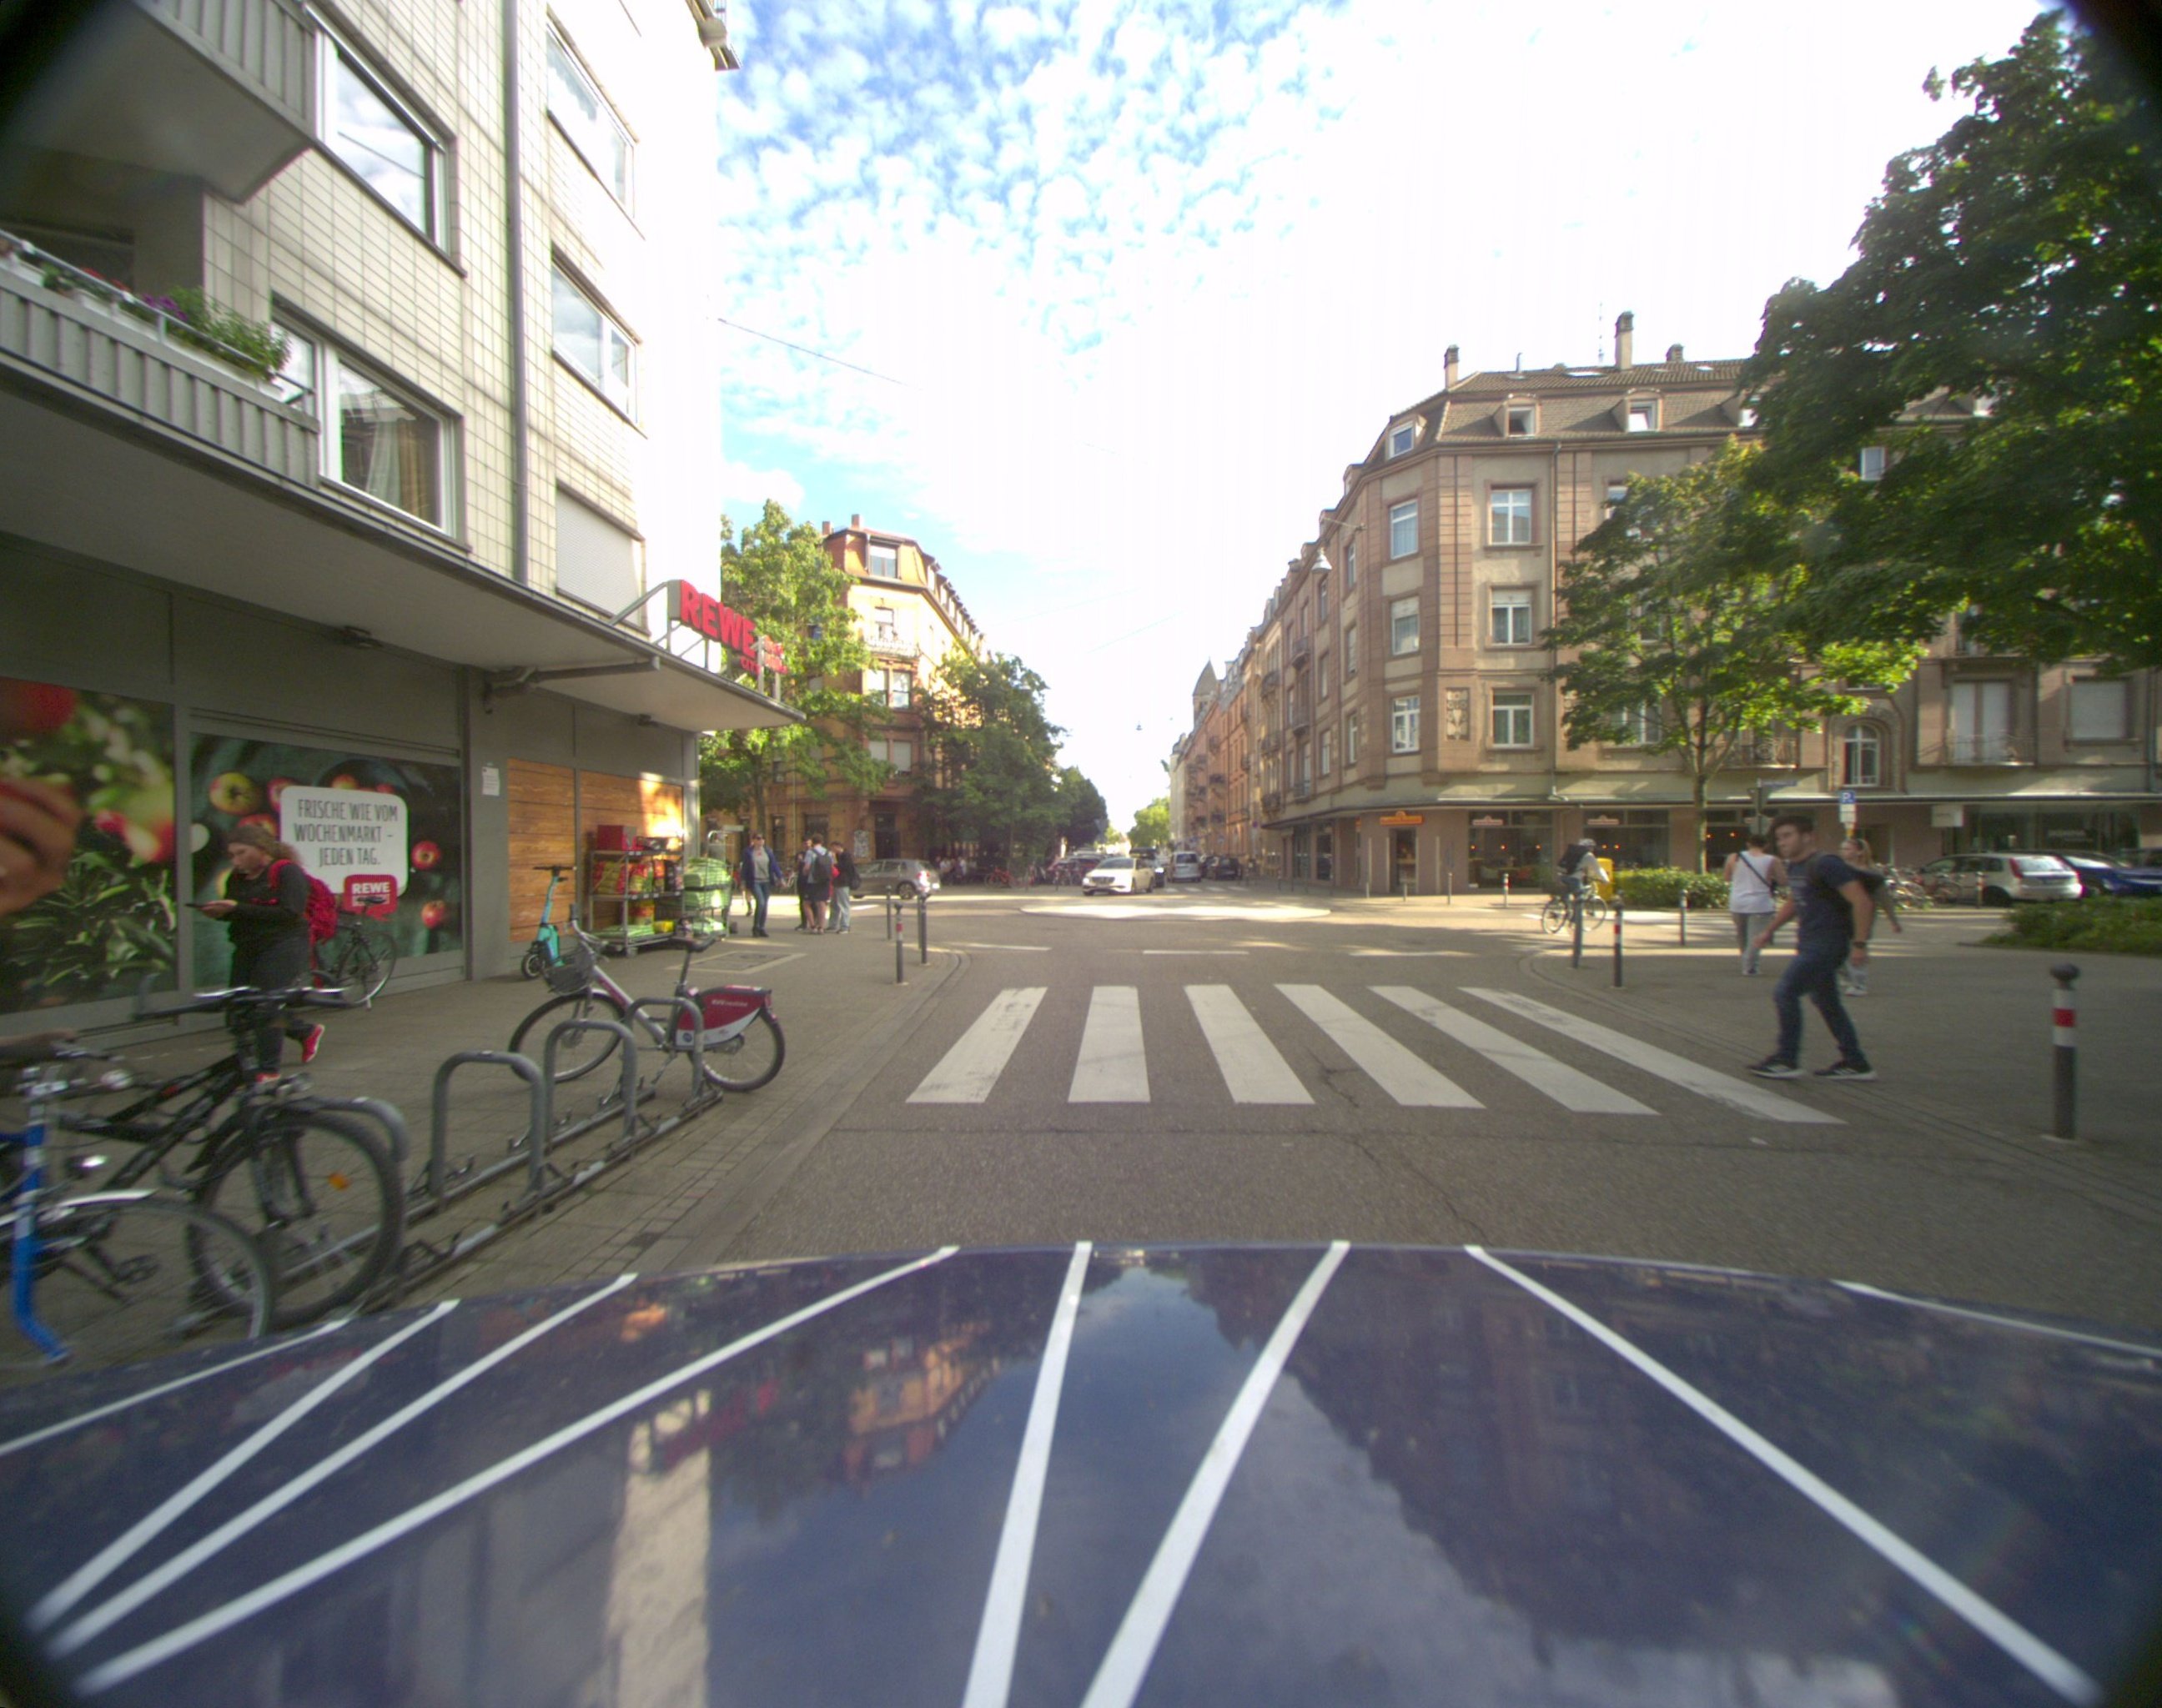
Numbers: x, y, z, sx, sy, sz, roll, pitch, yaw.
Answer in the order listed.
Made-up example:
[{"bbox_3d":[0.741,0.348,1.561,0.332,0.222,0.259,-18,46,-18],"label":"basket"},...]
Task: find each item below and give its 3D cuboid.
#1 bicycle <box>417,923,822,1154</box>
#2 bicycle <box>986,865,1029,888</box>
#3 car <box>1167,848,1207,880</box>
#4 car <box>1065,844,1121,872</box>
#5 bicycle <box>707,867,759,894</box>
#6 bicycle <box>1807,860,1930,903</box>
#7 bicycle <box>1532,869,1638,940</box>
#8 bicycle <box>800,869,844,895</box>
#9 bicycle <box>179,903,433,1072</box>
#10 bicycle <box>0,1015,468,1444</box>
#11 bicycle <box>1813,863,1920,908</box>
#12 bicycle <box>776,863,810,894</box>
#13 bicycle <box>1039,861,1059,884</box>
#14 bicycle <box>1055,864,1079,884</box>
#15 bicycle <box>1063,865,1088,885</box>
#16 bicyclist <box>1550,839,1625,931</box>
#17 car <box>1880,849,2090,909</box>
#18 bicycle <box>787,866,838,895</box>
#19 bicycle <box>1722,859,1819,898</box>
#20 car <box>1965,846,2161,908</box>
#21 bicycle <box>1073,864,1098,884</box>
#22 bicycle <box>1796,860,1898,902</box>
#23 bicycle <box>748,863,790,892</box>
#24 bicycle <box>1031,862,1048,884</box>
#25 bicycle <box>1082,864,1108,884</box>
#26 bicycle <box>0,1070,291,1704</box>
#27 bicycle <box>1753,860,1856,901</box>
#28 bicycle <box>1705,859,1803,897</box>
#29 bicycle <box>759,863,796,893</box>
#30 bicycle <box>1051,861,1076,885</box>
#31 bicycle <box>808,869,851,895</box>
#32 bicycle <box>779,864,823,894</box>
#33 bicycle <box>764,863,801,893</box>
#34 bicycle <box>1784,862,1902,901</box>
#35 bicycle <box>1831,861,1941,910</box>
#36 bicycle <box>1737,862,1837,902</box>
[{"bbox_3d":[-2.693,1.051,4.622,1.887,1.119,0.907,2,0,1],"label":"bicycle"},{"bbox_3d":[-3.264,0.993,33.818,1.855,1.029,0.684,0,1,2],"label":"bicycle"},{"bbox_3d":[6.276,0.604,45.550,1.833,1.780,4.332,-3,-1,2],"label":"car"},{"bbox_3d":[1.103,0.368,70.030,4.746,2.408,1.996,-2,0,-29],"label":"car"},{"bbox_3d":[-15.033,1.121,32.782,2.493,1.090,0.582,0,4,29],"label":"bicycle"},{"bbox_3d":[21.369,0.740,20.655,2.510,1.095,0.651,-1,0,4],"label":"bicycle"},{"bbox_3d":[9.525,0.924,14.338,2.120,1.213,0.701,-1,1,-27],"label":"bicycle"},{"bbox_3d":[-10.846,1.157,31.859,0.447,0.981,1.716,1,3,41],"label":"bicycle"},{"bbox_3d":[-6.210,0.996,6.246,0.678,1.037,1.731,0,1,-16],"label":"bicycle"},{"bbox_3d":[-3.090,1.093,2.363,1.793,1.064,0.569,1,0,-7],"label":"bicycle"},{"bbox_3d":[20.702,0.817,20.036,2.290,1.151,0.479,0,1,1],"label":"bicycle"},{"bbox_3d":[-12.396,1.045,32.735,0.447,1.195,1.714,0,2,14],"label":"bicycle"},{"bbox_3d":[-1.653,0.935,38.713,0.476,1.094,1.672,1,1,-21],"label":"bicycle"},{"bbox_3d":[-0.726,1.015,38.679,0.418,0.979,1.834,1,1,-28],"label":"bicycle"},{"bbox_3d":[-0.308,1.063,38.902,0.473,0.979,1.860,1,1,-28],"label":"bicycle"},{"bbox_3d":[9.555,0.557,14.341,1.114,1.668,0.701,-1,1,-27],"label":"bicyclist"},{"bbox_3d":[24.944,0.640,21.188,1.575,1.468,3.700,-2,0,4],"label":"car"},{"bbox_3d":[-11.294,1.110,32.025,0.447,1.083,2.049,1,3,41],"label":"bicycle"},{"bbox_3d":[20.448,0.713,22.542,2.430,1.128,0.479,0,1,1],"label":"bicycle"},{"bbox_3d":[27.202,0.563,20.726,1.575,1.468,4.075,-2,0,4],"label":"car"},{"bbox_3d":[0.209,1.036,39.328,0.473,0.979,1.860,1,1,-28],"label":"bicycle"},{"bbox_3d":[20.715,0.723,20.569,2.262,1.128,0.479,0,1,1],"label":"bicycle"},{"bbox_3d":[-13.757,1.021,33.526,0.447,1.195,1.715,1,3,32],"label":"bicycle"},{"bbox_3d":[-2.111,0.950,38.517,0.434,1.094,1.672,1,1,-17],"label":"bicycle"},{"bbox_3d":[0.718,1.019,39.331,0.473,0.979,1.860,1,1,-28],"label":"bicycle"},{"bbox_3d":[-3.002,1.093,1.654,1.793,1.064,0.586,1,0,-7],"label":"bicycle"},{"bbox_3d":[20.431,0.739,21.483,2.430,1.128,0.479,0,1,1],"label":"bicycle"},{"bbox_3d":[20.455,0.719,23.117,2.430,1.128,0.579,0,1,1],"label":"bicycle"},{"bbox_3d":[-13.269,1.027,33.280,0.447,1.195,1.714,0,2,20],"label":"bicycle"},{"bbox_3d":[-0.897,0.959,38.252,0.476,1.136,1.834,1,1,-28],"label":"bicycle"},{"bbox_3d":[-10.464,1.158,31.641,0.447,0.981,1.716,1,3,41],"label":"bicycle"},{"bbox_3d":[-11.877,1.049,32.231,0.447,1.195,1.716,2,3,41],"label":"bicycle"},{"bbox_3d":[-12.916,1.040,32.935,0.447,1.195,1.714,0,2,20],"label":"bicycle"},{"bbox_3d":[21.426,0.770,21.401,2.511,1.095,0.709,0,0,3],"label":"bicycle"},{"bbox_3d":[20.677,0.809,19.530,2.292,1.217,0.479,0,1,1],"label":"bicycle"},{"bbox_3d":[20.439,0.799,22.005,2.430,1.128,0.479,0,1,1],"label":"bicycle"}]
